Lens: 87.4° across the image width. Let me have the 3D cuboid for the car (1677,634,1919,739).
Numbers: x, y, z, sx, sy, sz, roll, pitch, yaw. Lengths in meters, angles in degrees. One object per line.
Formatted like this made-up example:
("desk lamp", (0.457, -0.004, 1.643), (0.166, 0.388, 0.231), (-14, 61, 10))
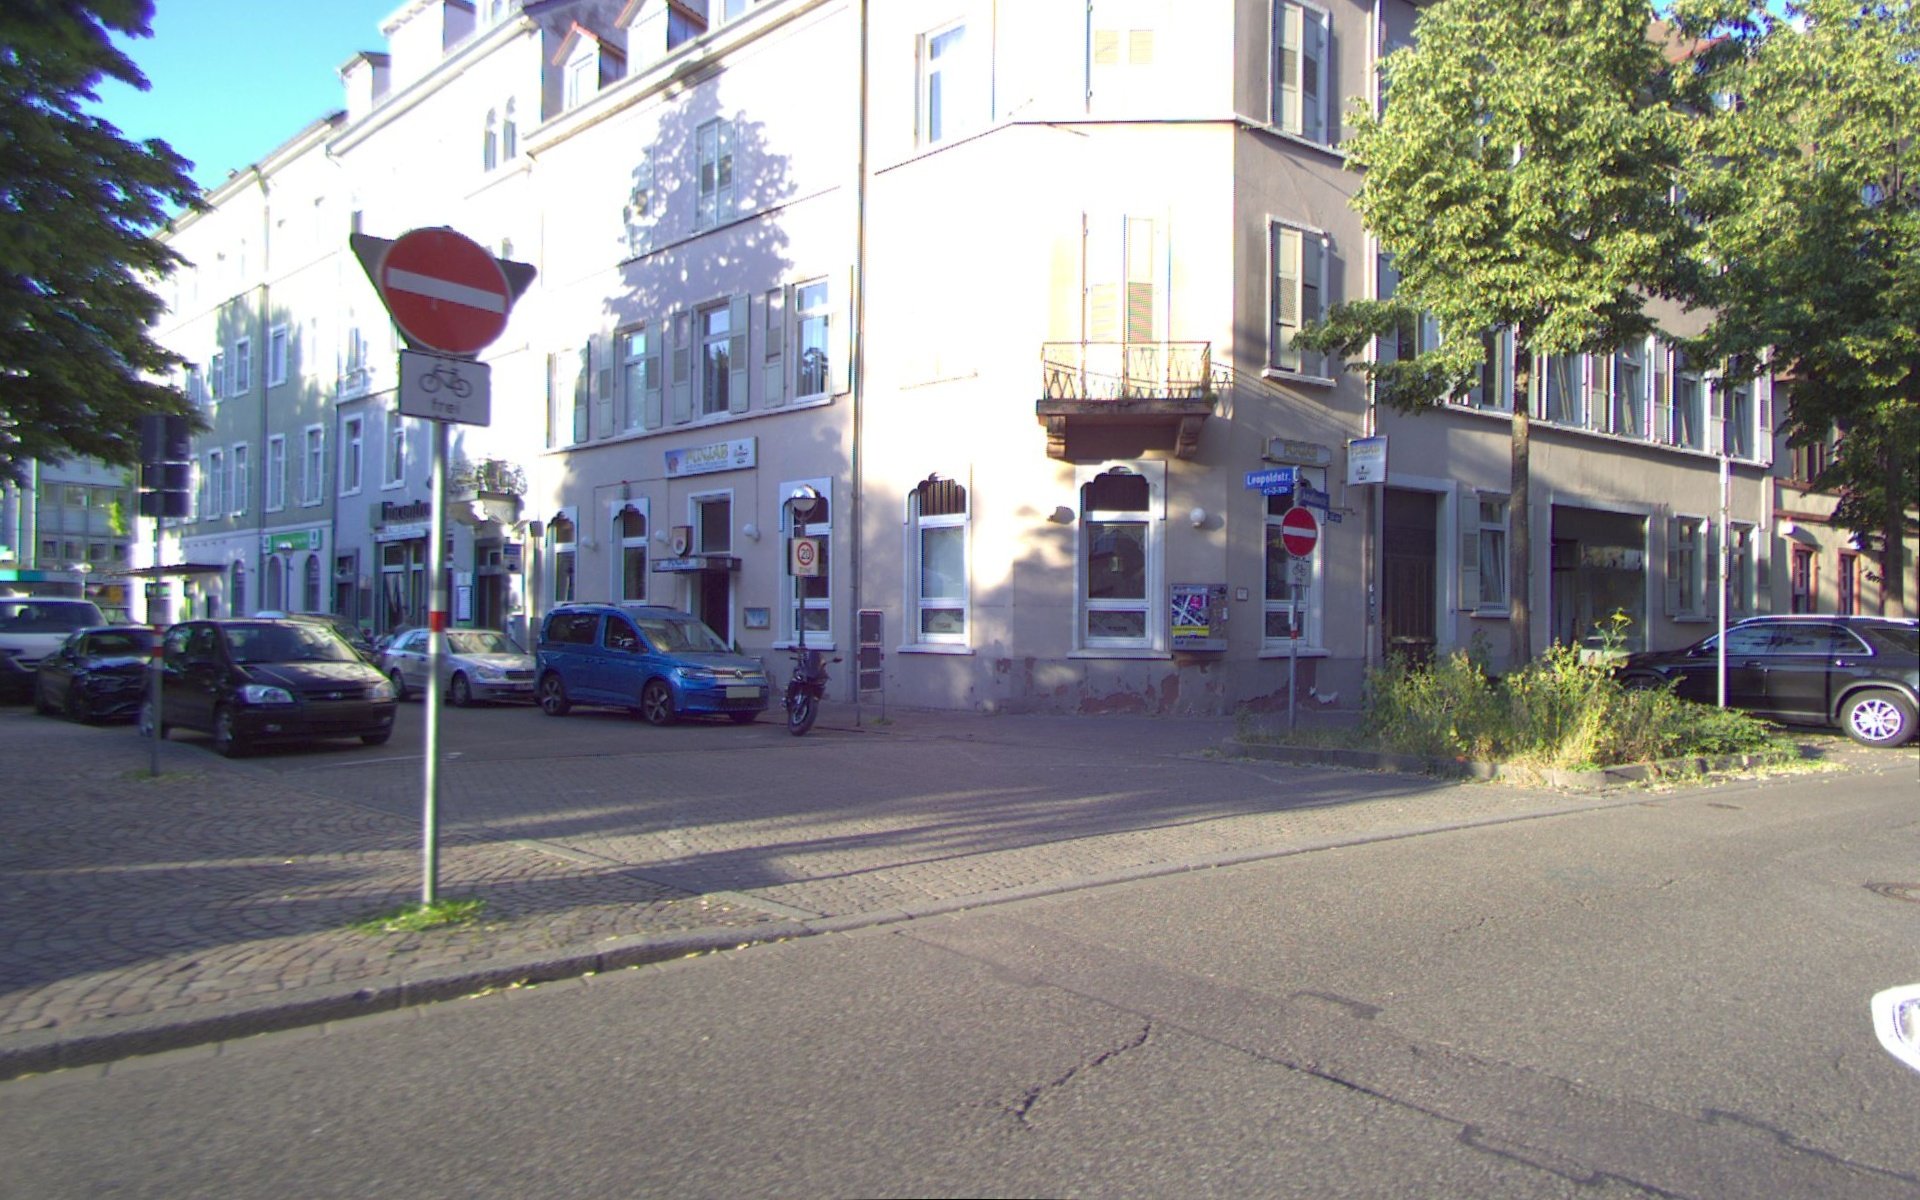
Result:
("car", (14.492, 1.352, 16.540), (1.809, 1.463, 4.014), (1, 0, -29))

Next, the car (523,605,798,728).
("car", (-4.839, 0.942, 16.026), (4.360, 1.699, 1.954), (0, -1, 35))

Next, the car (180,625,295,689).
("car", (-19.262, 1.461, 26.744), (3.560, 1.501, 1.605), (1, 0, 39))

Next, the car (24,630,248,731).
("car", (-12.663, 1.142, 15.386), (3.711, 1.254, 1.824), (1, 0, 37))

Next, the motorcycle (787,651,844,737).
("motorcycle", (-2.035, 1.294, 14.282), (0.733, 1.044, 2.096), (1, 0, -7))

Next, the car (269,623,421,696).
("car", (-14.403, 1.317, 23.463), (3.920, 1.459, 1.831), (1, 0, 39))

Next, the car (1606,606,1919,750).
("car", (12.676, 1.071, 15.230), (2.009, 1.859, 4.429), (2, -1, -29))

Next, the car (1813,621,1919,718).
("car", (18.496, 1.294, 18.419), (1.811, 1.731, 3.972), (1, 0, -29))

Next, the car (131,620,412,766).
("car", (-8.136, 0.965, 11.800), (3.469, 1.399, 1.700), (1, 0, 37))

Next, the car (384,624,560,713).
("car", (-9.247, 1.212, 18.931), (3.778, 1.430, 1.534), (1, 0, 39))

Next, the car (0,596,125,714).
("car", (-17.949, 0.939, 19.288), (4.757, 2.013, 2.034), (1, 0, 39))

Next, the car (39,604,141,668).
("car", (-30.217, 1.190, 34.862), (3.938, 2.040, 1.991), (1, 0, 39))
